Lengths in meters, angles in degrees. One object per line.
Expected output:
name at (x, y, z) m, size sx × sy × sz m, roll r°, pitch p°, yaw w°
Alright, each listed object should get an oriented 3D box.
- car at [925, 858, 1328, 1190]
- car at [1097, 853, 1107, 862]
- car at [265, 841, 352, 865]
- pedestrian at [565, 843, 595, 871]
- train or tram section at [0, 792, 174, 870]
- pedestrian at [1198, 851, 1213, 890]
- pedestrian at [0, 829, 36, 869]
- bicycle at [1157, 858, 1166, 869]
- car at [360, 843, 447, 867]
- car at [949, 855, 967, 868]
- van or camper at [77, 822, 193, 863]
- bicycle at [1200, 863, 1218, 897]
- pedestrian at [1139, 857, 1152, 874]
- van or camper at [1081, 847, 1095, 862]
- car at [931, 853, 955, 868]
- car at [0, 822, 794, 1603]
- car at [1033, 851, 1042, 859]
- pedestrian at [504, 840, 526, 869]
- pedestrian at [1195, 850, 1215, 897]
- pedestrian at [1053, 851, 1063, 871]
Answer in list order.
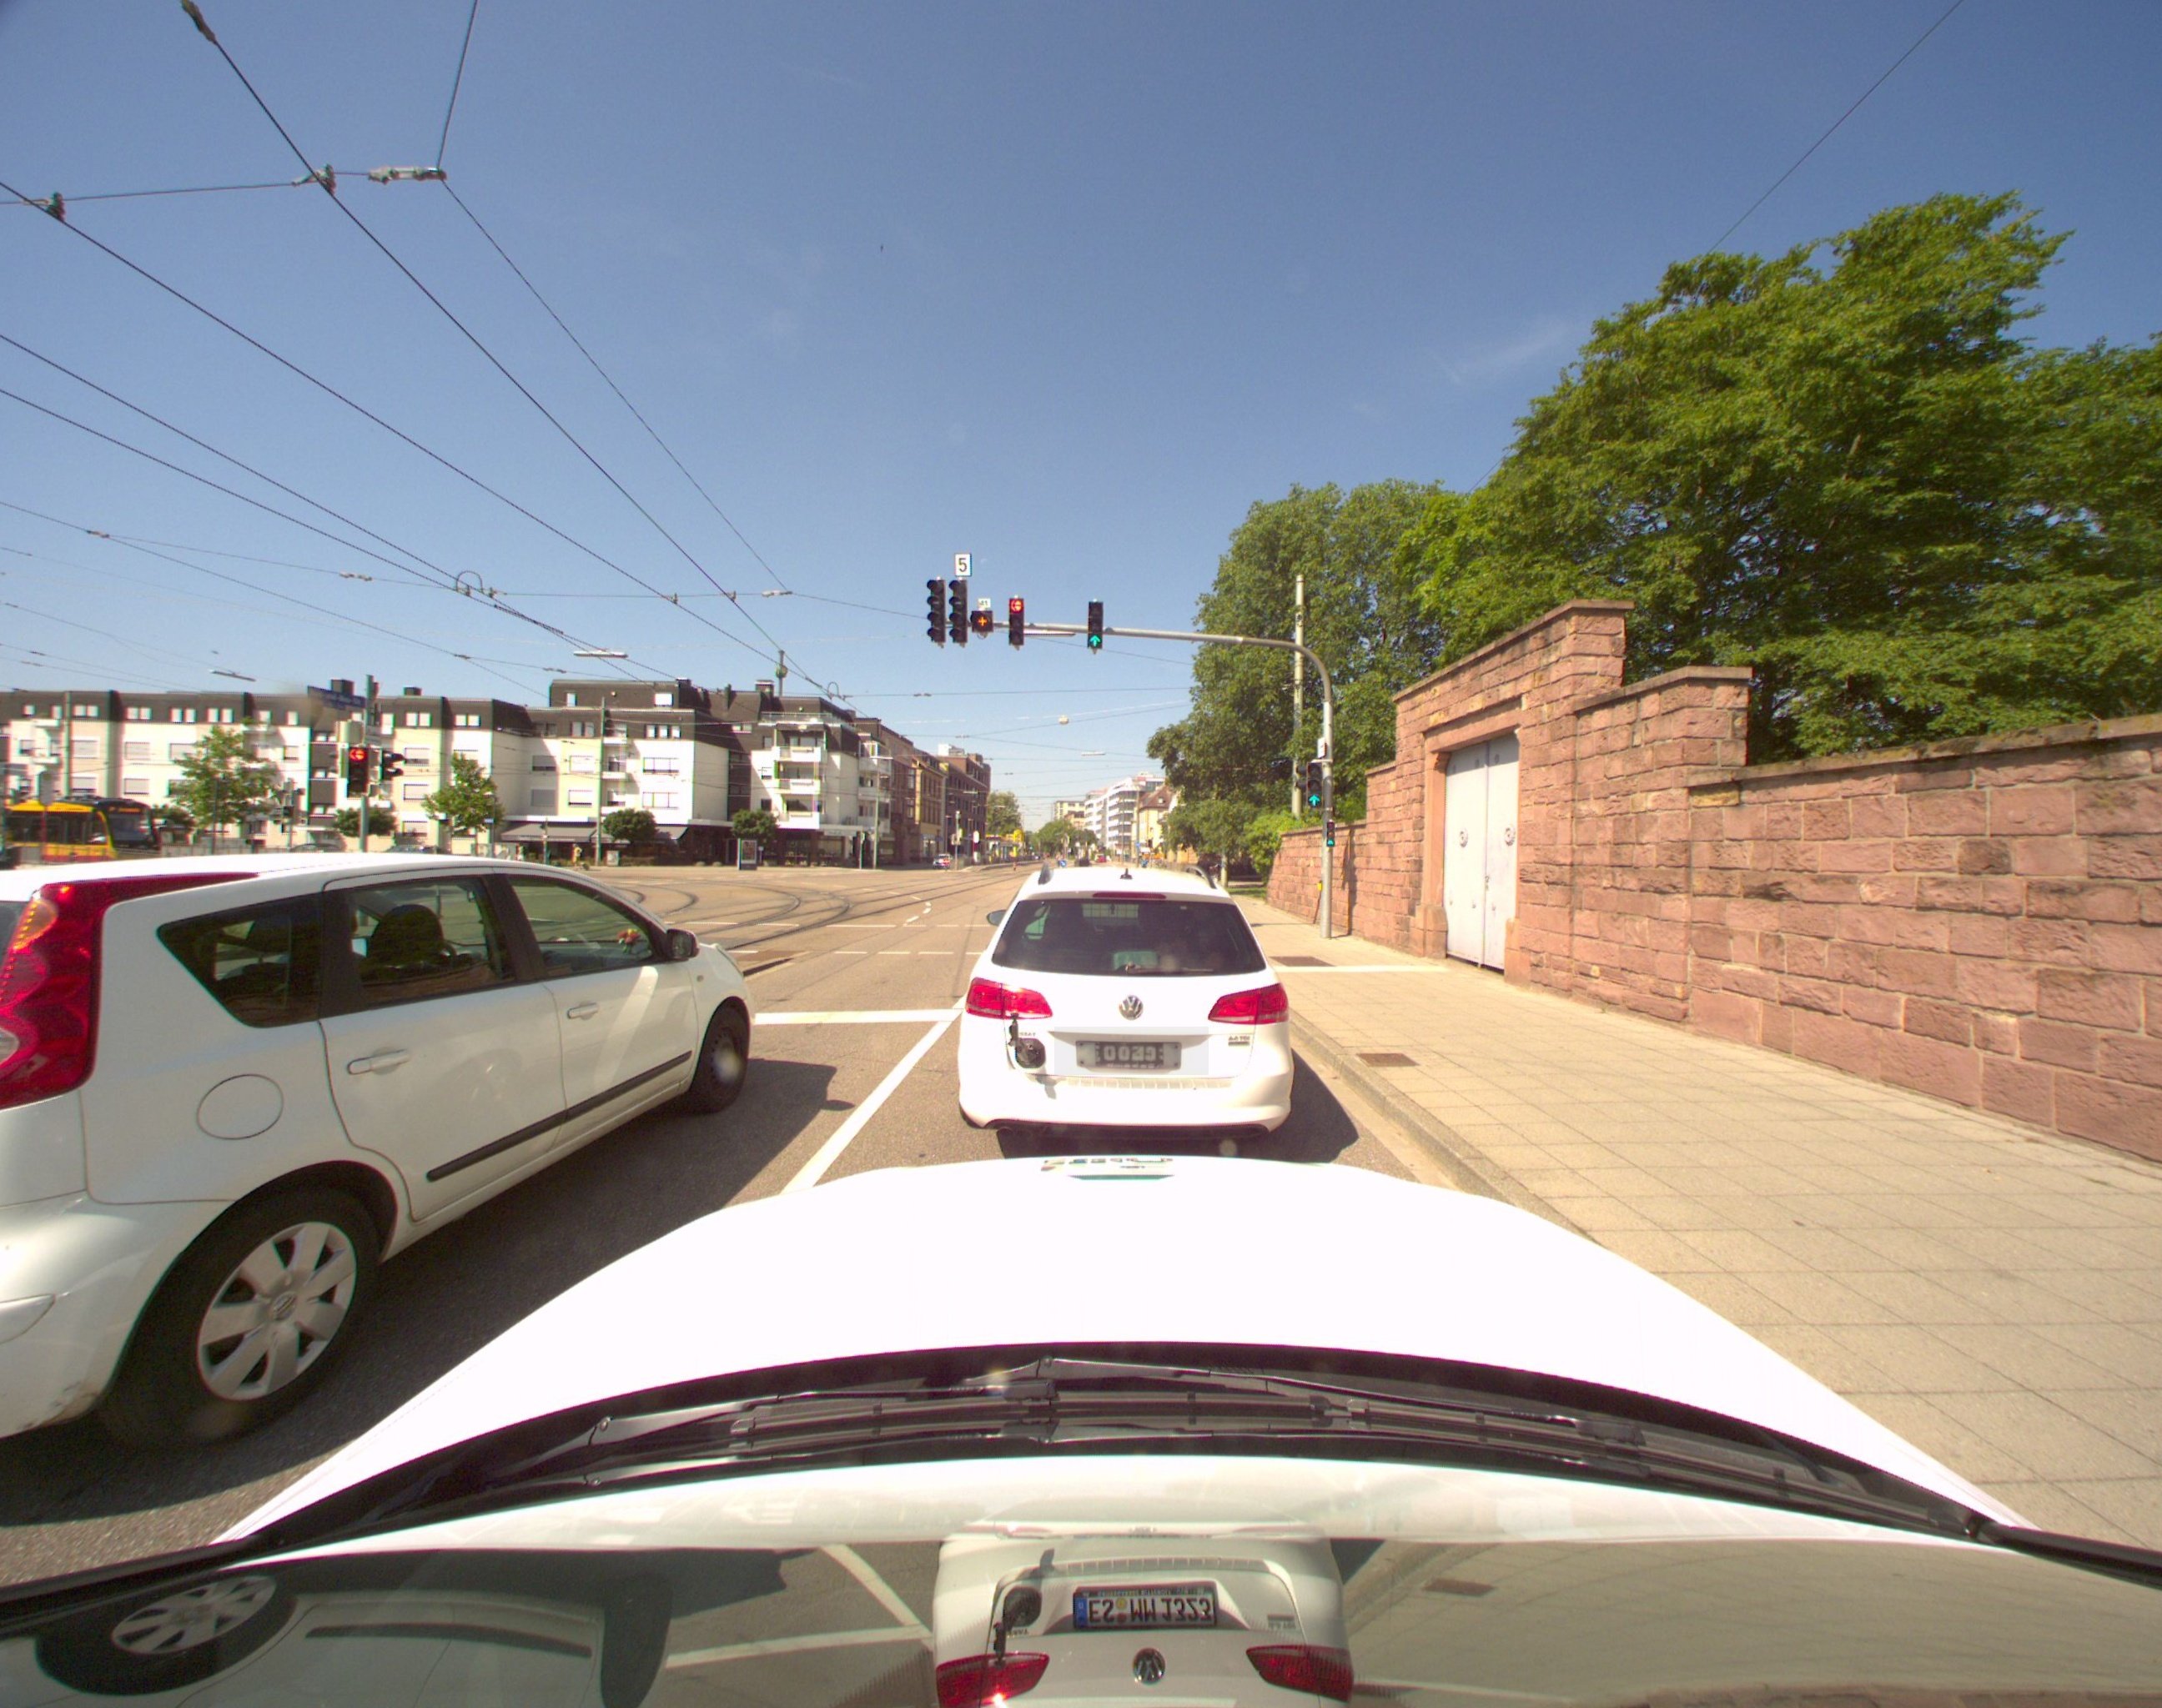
car at (0.263, 0.751, 5.502) m, size 1.746 × 1.418 × 3.854 m, roll 1°, pitch 0°, yaw 2°
car at (5.031, 0.893, 192.554) m, size 1.989 × 2.013 × 3.996 m, roll 1°, pitch 0°, yaw -3°
car at (-51.131, -0.083, 53.926) m, size 3.973 × 1.500 × 1.828 m, roll 1°, pitch 0°, yaw 0°
pedestrian at (-33.405, 0.194, 54.295) m, size 1.108 × 1.836 × 1.448 m, roll 0°, pitch 0°, yaw 40°
train or tram section at (-53.599, -1.171, 40.517) m, size 13.814 × 3.658 × 2.769 m, roll 1°, pitch 0°, yaw 1°
pedestrian at (5.558, 0.731, 36.347) m, size 0.646 × 1.682 × 0.709 m, roll 1°, pitch 0°, yaw 8°
pedestrian at (-49.485, -0.223, 37.638) m, size 1.193 × 1.837 × 0.897 m, roll 1°, pitch 0°, yaw 1°
bicycle at (8.899, 1.070, 90.172) m, size 0.720 × 1.139 × 2.203 m, roll 1°, pitch 0°, yaw 14°
car at (-44.936, 0.062, 54.079) m, size 4.158 × 1.500 × 1.828 m, roll 1°, pitch 0°, yaw 0°
car at (-13.362, 0.803, 88.627) m, size 1.568 × 1.459 × 3.811 m, roll 1°, pitch 0°, yaw -2°
van or camper at (-62.653, -0.756, 54.002) m, size 4.859 × 2.624 × 2.376 m, roll 1°, pitch 0°, yaw 0°
bicycle at (4.380, 0.875, 27.710) m, size 0.532 × 1.111 × 1.812 m, roll 0°, pitch -1°, yaw 11°
pedestrian at (5.850, 1.005, 73.533) m, size 0.848 × 1.510 × 0.786 m, roll 0°, pitch -1°, yaw 43°
van or camper at (1.422, 0.181, 180.292) m, size 2.935 × 3.180 × 6.610 m, roll 1°, pitch 0°, yaw -1°
car at (-13.696, 0.633, 80.876) m, size 1.620 × 1.431 × 3.962 m, roll 2°, pitch 0°, yaw 0°
car at (-2.955, 0.725, 3.679) m, size 1.759 × 1.561 × 4.068 m, roll 0°, pitch 0°, yaw 2°
car at (-11.056, 0.267, 208.241) m, size 1.987 × 2.014 × 3.999 m, roll 0°, pitch -1°, yaw 0°
pedestrian at (-35.318, 0.036, 50.834) m, size 0.757 × 1.760 × 0.813 m, roll 1°, pitch 0°, yaw 8°
pedestrian at (4.212, 0.650, 27.736) m, size 0.538 × 1.549 × 0.663 m, roll -1°, pitch 0°, yaw 1°
pedestrian at (-2.143, 0.611, 74.943) m, size 0.823 × 1.809 × 0.834 m, roll 1°, pitch 0°, yaw 2°
